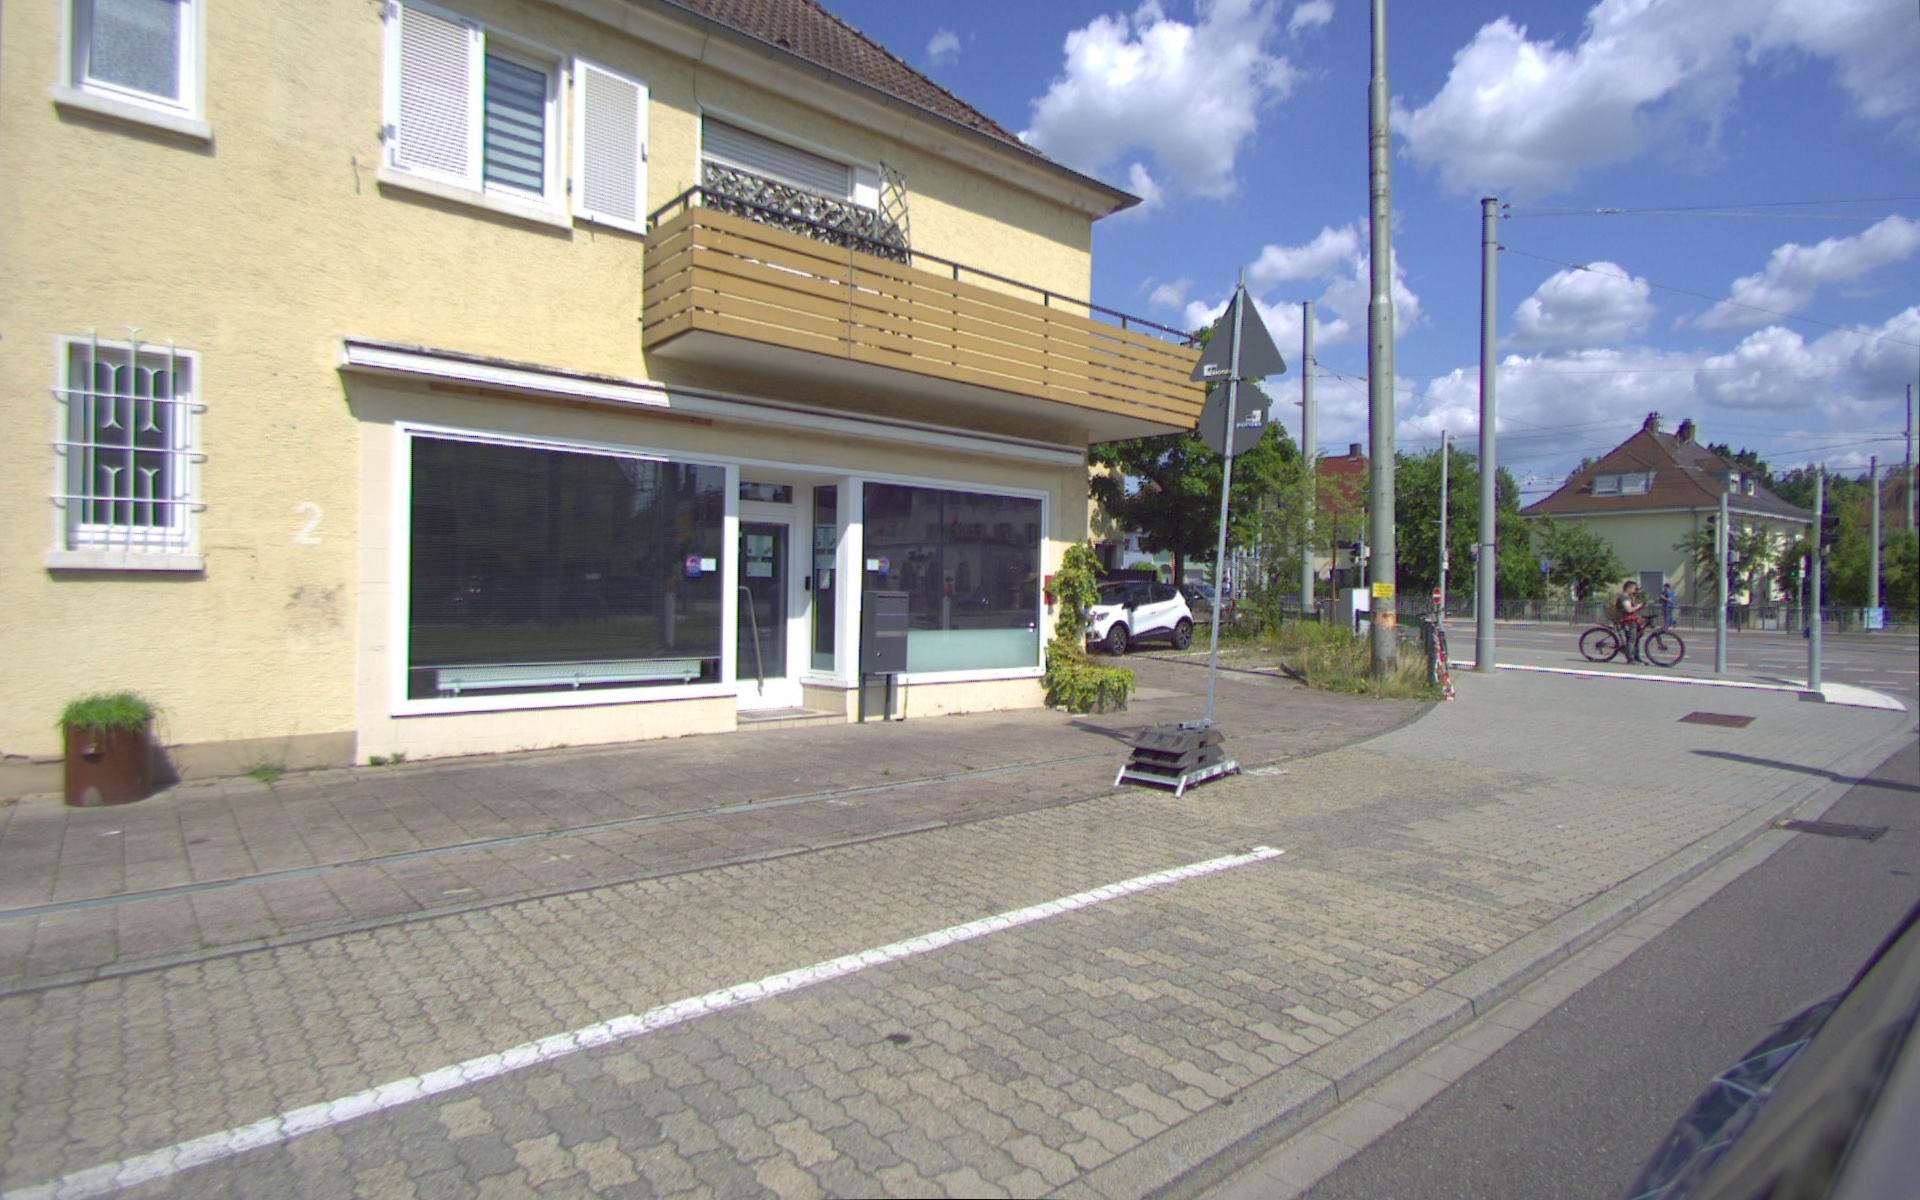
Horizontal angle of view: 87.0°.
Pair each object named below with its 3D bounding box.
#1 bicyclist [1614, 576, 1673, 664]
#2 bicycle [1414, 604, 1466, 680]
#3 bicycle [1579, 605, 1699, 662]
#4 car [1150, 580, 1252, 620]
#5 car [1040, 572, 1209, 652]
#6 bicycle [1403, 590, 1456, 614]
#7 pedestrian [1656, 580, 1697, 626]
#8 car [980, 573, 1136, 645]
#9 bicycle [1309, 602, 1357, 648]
[{"bbox_3d":[14.264,0.392,21.156,0.952,1.797,0.712,1,0,30],"label":"bicyclist"},{"bbox_3d":[7.865,0.649,16.545,0.590,1.110,2.253,1,1,30],"label":"bicycle"},{"bbox_3d":[14.168,0.676,21.191,2.016,1.115,0.708,1,1,30],"label":"bicycle"},{"bbox_3d":[10.127,-0.029,42.715,1.807,1.588,4.000,1,1,-36],"label":"car"},{"bbox_3d":[3.788,0.198,22.928,3.935,1.641,1.823,-2,2,-44],"label":"car"},{"bbox_3d":[27.347,0.107,58.995,0.612,1.351,2.797,1,0,-41],"label":"bicycle"},{"bbox_3d":[28.116,0.117,39.711,1.022,1.757,1.032,1,0,-38],"label":"pedestrian"},{"bbox_3d":[2.521,0.162,25.486,3.935,1.641,1.823,-2,2,-44],"label":"car"},{"bbox_3d":[9.707,0.632,26.368,0.690,1.119,1.806,1,0,4],"label":"bicycle"}]
